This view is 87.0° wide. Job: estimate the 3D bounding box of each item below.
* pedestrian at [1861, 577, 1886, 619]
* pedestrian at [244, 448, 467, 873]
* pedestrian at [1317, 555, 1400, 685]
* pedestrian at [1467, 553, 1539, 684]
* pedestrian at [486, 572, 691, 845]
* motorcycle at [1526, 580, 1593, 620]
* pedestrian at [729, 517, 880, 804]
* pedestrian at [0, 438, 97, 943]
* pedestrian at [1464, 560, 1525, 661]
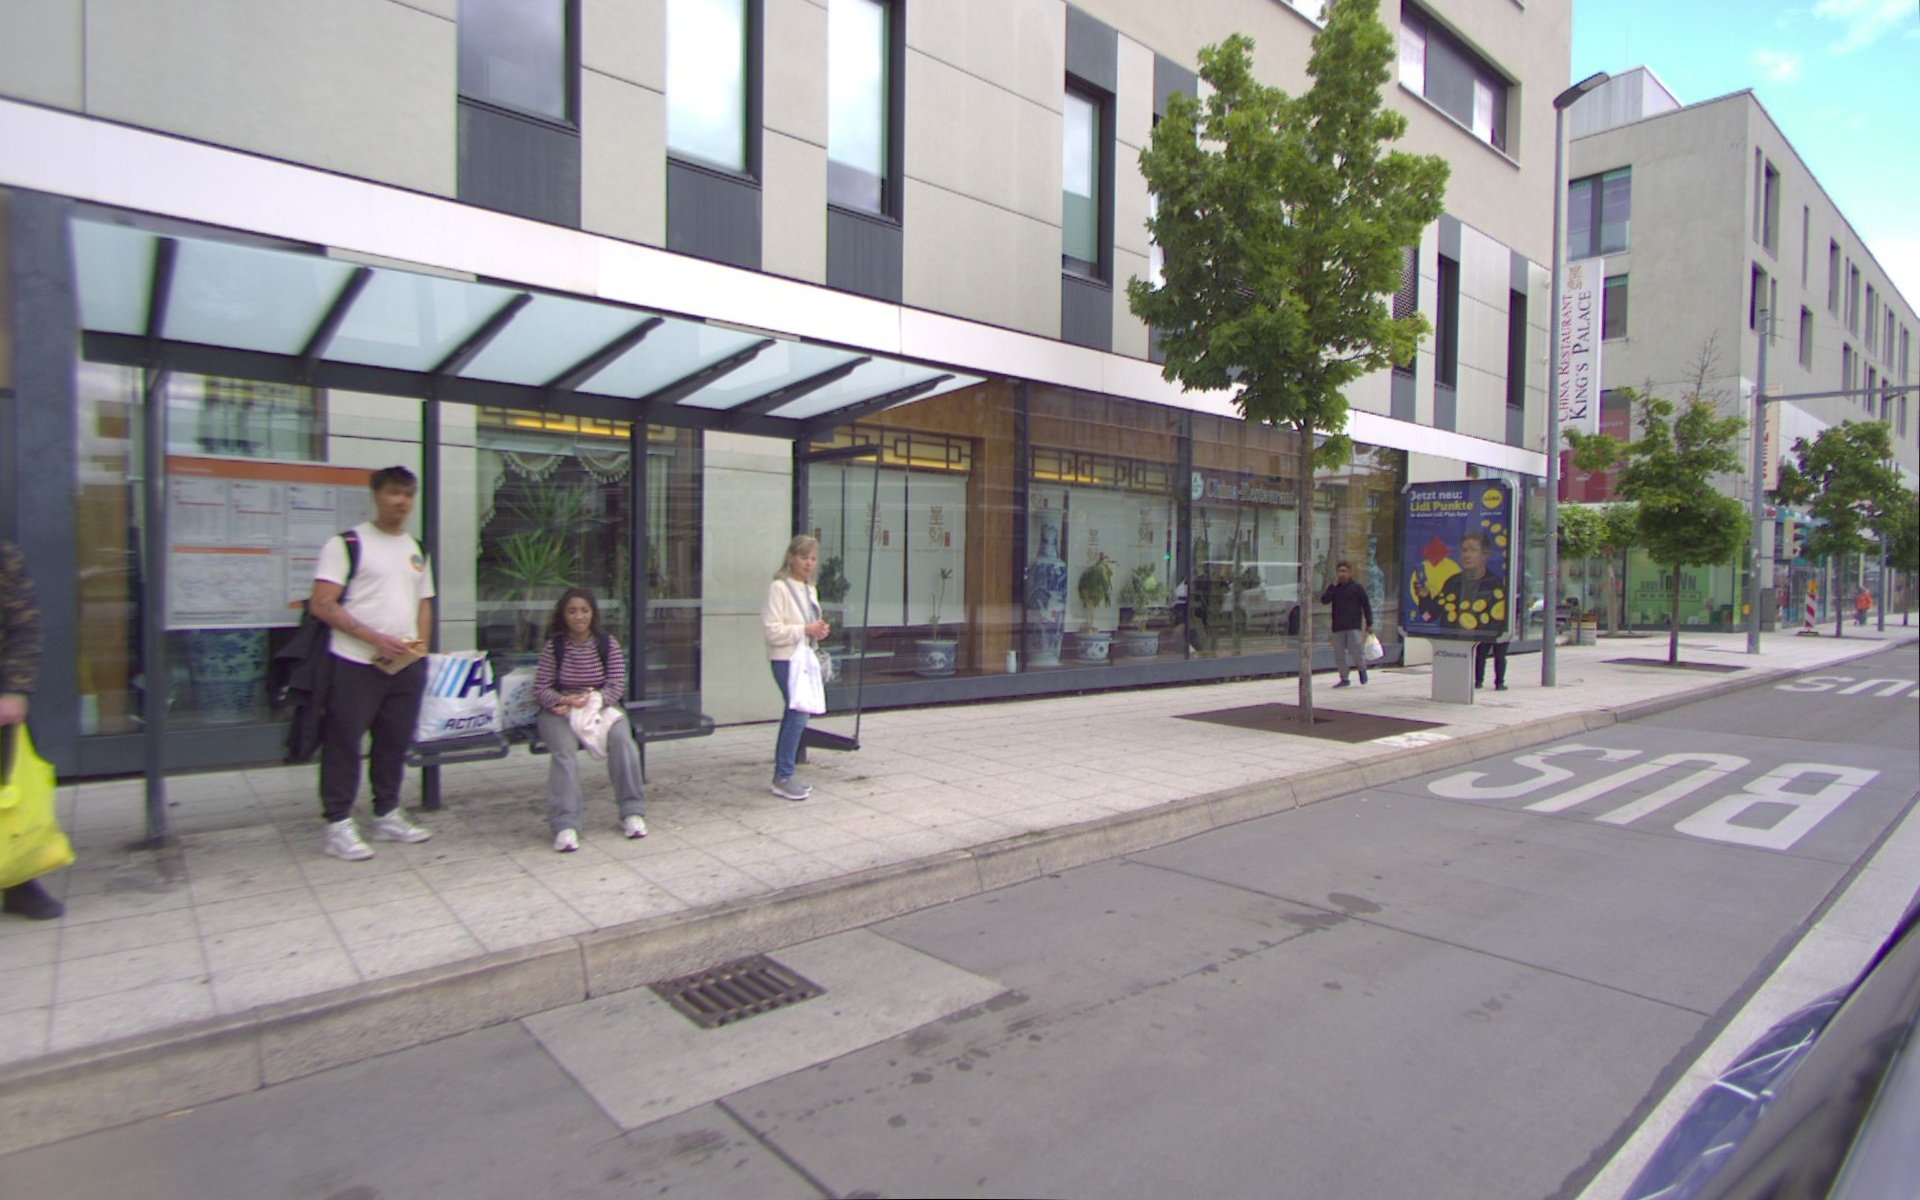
[{"bbox_3d":[35.427,-0.100,39.243,0.719,1.586,0.590,0,3,-41],"label":"pedestrian"},{"bbox_3d":[-2.820,0.238,4.736,0.840,1.791,0.581,-1,3,-35],"label":"pedestrian"},{"bbox_3d":[5.179,0.232,13.159,0.702,1.628,0.742,-1,1,-40],"label":"pedestrian"},{"bbox_3d":[7.264,0.226,13.542,0.603,1.689,0.656,-1,1,-40],"label":"pedestrian"},{"bbox_3d":[-1.984,0.499,5.375,0.720,1.274,0.944,-1,3,-43],"label":"pedestrian"},{"bbox_3d":[20.138,0.007,34.027,0.584,1.273,1.841,-4,2,-42],"label":"motorcycle"},{"bbox_3d":[-0.943,0.323,6.113,0.719,1.610,0.581,-1,3,-35],"label":"pedestrian"},{"bbox_3d":[-3.594,0.296,3.590,0.719,1.704,0.723,-1,3,-35],"label":"pedestrian"},{"bbox_3d":[9.211,0.166,17.452,0.603,1.689,0.746,-1,1,-40],"label":"pedestrian"}]
